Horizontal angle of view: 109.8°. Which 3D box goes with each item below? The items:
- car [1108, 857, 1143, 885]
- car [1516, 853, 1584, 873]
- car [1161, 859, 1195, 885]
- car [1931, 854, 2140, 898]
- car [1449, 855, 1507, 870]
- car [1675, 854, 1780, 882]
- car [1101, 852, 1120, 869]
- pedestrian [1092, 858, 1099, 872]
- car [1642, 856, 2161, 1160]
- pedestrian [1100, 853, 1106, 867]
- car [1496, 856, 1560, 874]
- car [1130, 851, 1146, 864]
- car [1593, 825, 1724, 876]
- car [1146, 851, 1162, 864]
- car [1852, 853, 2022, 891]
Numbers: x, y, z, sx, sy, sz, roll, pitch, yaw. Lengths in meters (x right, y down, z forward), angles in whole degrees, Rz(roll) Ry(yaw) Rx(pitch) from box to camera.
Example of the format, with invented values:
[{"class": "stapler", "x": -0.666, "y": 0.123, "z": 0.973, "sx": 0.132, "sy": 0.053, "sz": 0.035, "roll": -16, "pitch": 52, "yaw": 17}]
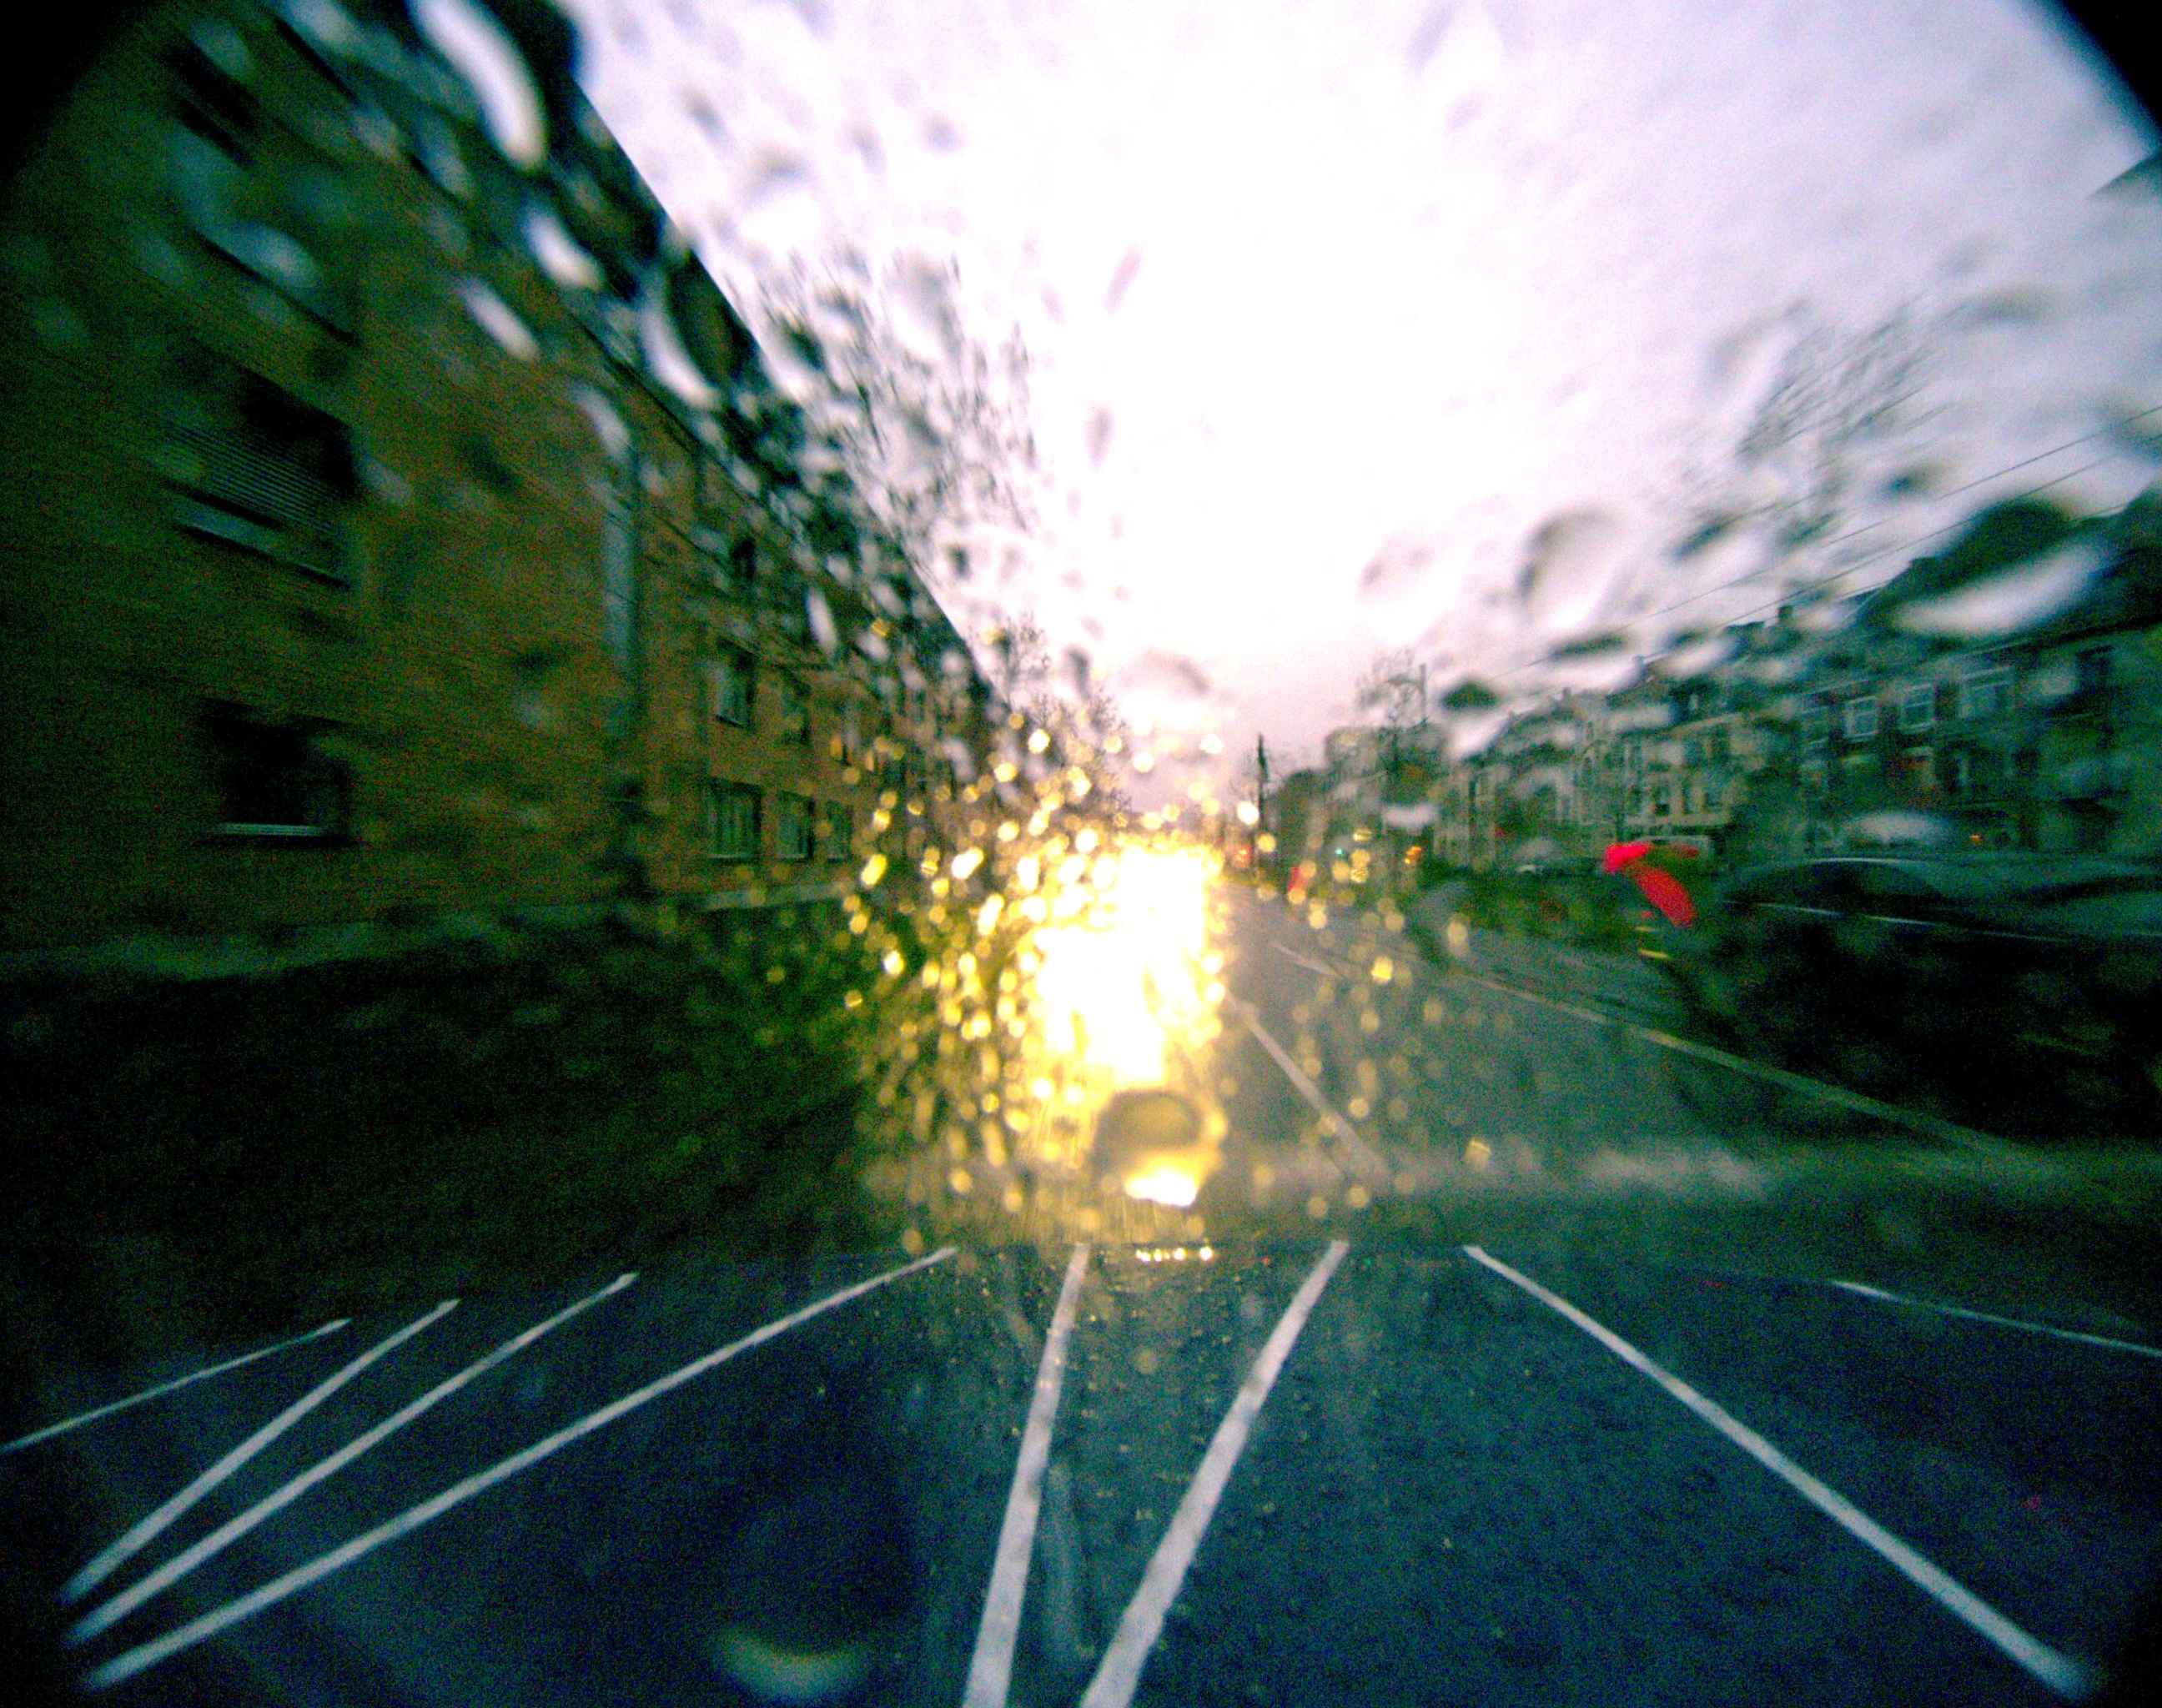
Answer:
[{"class": "car", "x": 2.447, "y": 0.897, "z": 41.666, "sx": 1.813, "sy": 1.384, "sz": 4.054, "roll": -2, "pitch": 0, "yaw": 3}, {"class": "car", "x": 33.769, "y": 0.623, "z": 54.764, "sx": 3.988, "sy": 1.324, "sz": 2.004, "roll": 0, "pitch": 0, "yaw": 38}, {"class": "car", "x": 6.052, "y": 1.096, "z": 47.711, "sx": 1.813, "sy": 1.487, "sz": 4.054, "roll": -2, "pitch": 0, "yaw": 3}, {"class": "car", "x": 31.240, "y": 0.678, "z": 25.090, "sx": 3.988, "sy": 1.324, "sz": 2.004, "roll": 0, "pitch": 0, "yaw": 40}, {"class": "car", "x": 33.172, "y": 0.708, "z": 63.550, "sx": 3.988, "sy": 1.162, "sz": 2.004, "roll": 0, "pitch": 0, "yaw": 41}, {"class": "car", "x": 32.649, "y": 0.658, "z": 38.479, "sx": 3.988, "sy": 1.324, "sz": 2.004, "roll": 0, "pitch": 0, "yaw": 40}, {"class": "car", "x": 3.134, "y": 0.712, "z": 80.251, "sx": 1.998, "sy": 1.745, "sz": 4.001, "roll": 0, "pitch": 0, "yaw": 2}, {"class": "pedestrian", "x": 1.839, "y": 1.392, "z": 95.861, "sx": 0.506, "sy": 1.732, "sz": 0.656, "roll": 0, "pitch": 1, "yaw": -30}, {"class": "car", "x": 6.187, "y": 0.758, "z": 4.756, "sx": 1.813, "sy": 1.421, "sz": 4.826, "roll": -2, "pitch": 0, "yaw": 1}, {"class": "pedestrian", "x": 2.851, "y": 0.749, "z": 98.108, "sx": 0.506, "sy": 1.814, "sz": 0.656, "roll": 0, "pitch": 1, "yaw": -23}, {"class": "car", "x": 34.202, "y": 0.842, "z": 58.128, "sx": 3.988, "sy": 1.324, "sz": 2.004, "roll": 0, "pitch": 0, "yaw": 39}, {"class": "car", "x": 7.455, "y": 0.468, "z": 99.794, "sx": 1.998, "sy": 1.745, "sz": 4.001, "roll": 0, "pitch": 0, "yaw": 2}, {"class": "car", "x": 33.366, "y": -0.214, "z": 44.056, "sx": 5.850, "sy": 2.781, "sz": 2.004, "roll": 0, "pitch": 1, "yaw": 45}, {"class": "car", "x": 10.033, "y": 0.479, "z": 105.221, "sx": 1.998, "sy": 1.745, "sz": 4.001, "roll": 0, "pitch": 0, "yaw": 2}, {"class": "car", "x": 31.984, "y": 0.626, "z": 28.582, "sx": 3.988, "sy": 1.324, "sz": 2.004, "roll": 0, "pitch": 0, "yaw": 40}]
